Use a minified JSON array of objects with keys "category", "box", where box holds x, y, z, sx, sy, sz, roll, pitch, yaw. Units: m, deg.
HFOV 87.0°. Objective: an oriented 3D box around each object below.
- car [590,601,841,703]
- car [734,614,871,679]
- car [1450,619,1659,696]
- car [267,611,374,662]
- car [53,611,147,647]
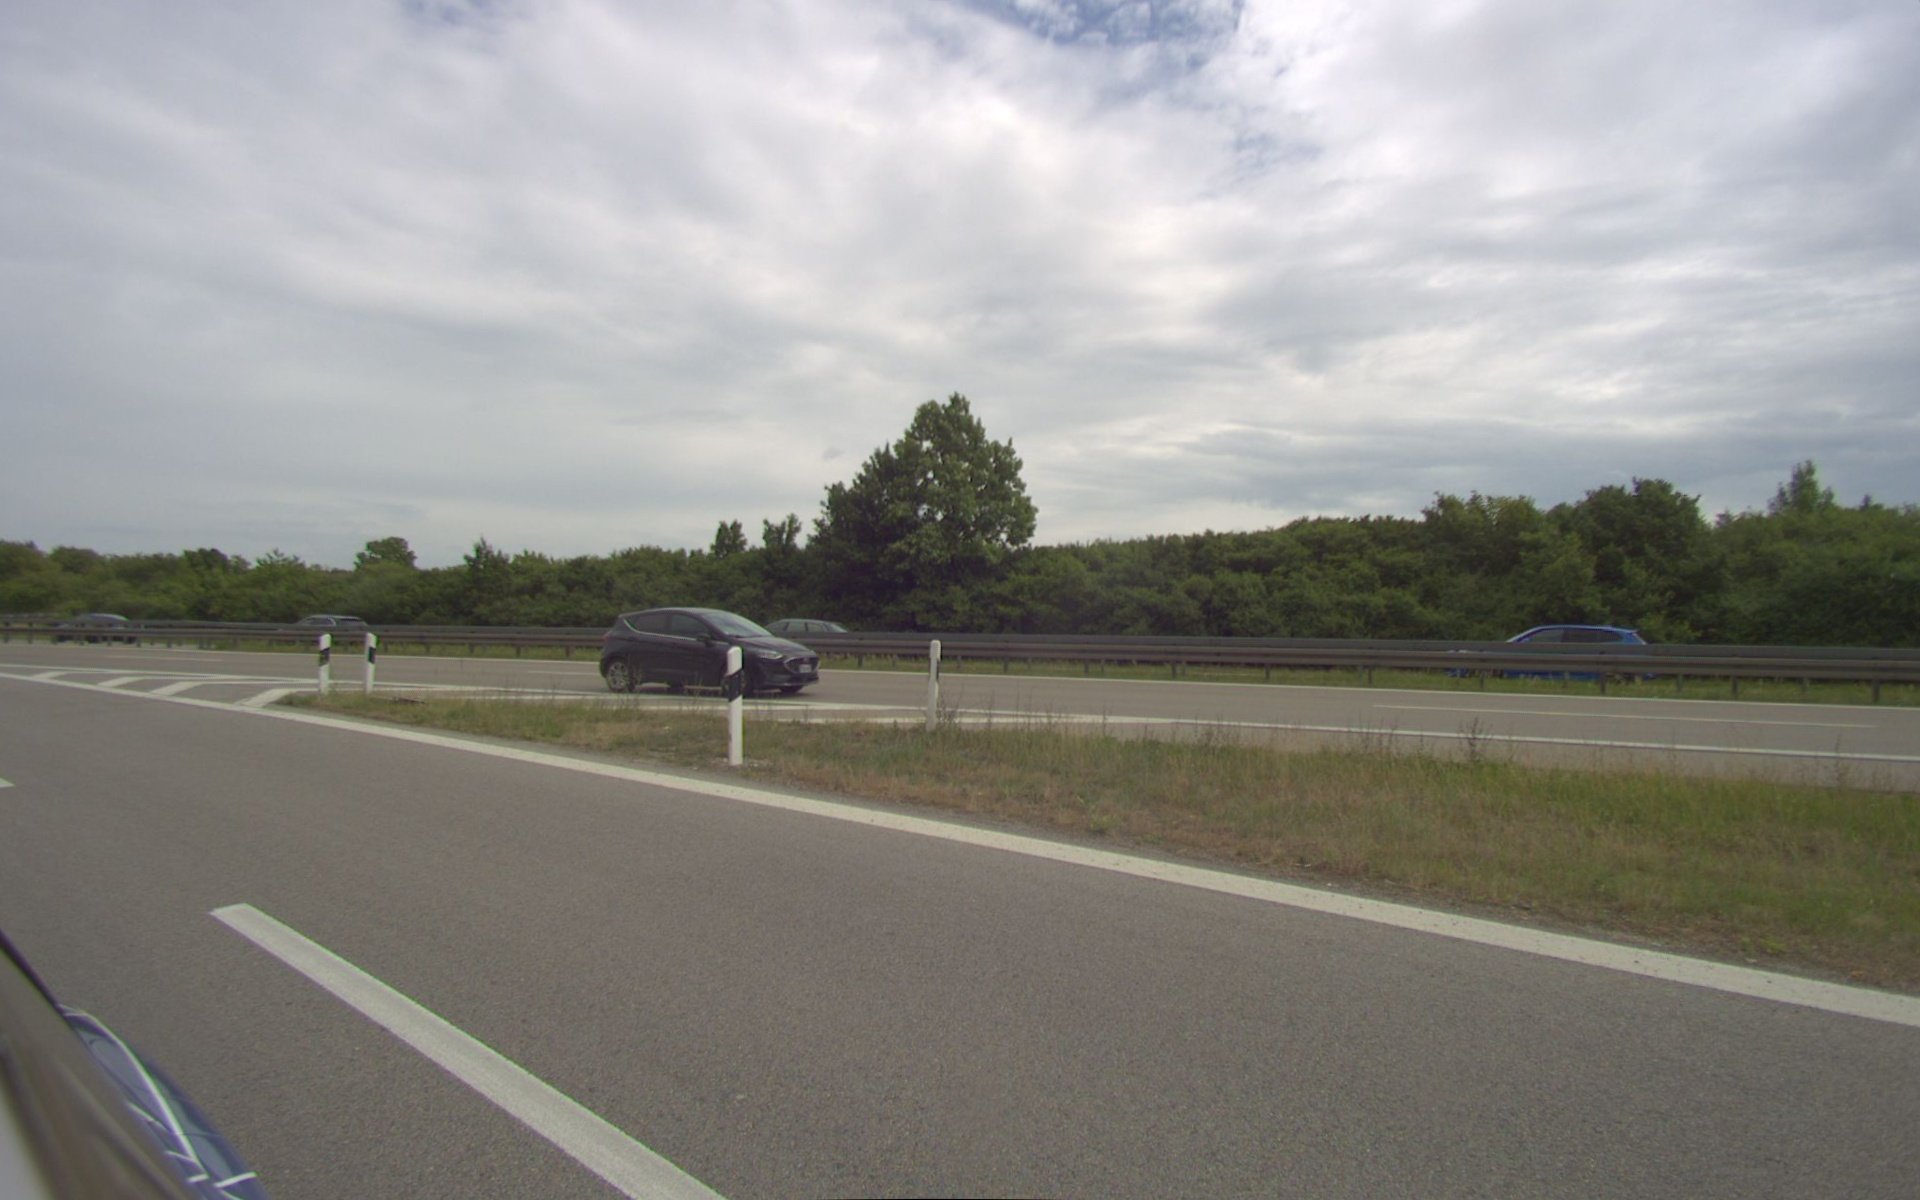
[{"category":"car","box":[-4.164,0.818,17.224,3.976,1.567,1.702,0,-1,25]},{"category":"car","box":[-5.276,1.494,33.836,4.194,2.029,1.915,0,-1,26]},{"category":"car","box":[13.651,1.270,23.558,3.977,1.641,1.983,0,-1,25]},{"category":"car","box":[-26.992,1.500,42.707,4.194,2.029,1.915,0,-1,26]},{"category":"car","box":[-42.441,1.414,49.932,3.975,1.697,1.984,0,-1,24]}]
